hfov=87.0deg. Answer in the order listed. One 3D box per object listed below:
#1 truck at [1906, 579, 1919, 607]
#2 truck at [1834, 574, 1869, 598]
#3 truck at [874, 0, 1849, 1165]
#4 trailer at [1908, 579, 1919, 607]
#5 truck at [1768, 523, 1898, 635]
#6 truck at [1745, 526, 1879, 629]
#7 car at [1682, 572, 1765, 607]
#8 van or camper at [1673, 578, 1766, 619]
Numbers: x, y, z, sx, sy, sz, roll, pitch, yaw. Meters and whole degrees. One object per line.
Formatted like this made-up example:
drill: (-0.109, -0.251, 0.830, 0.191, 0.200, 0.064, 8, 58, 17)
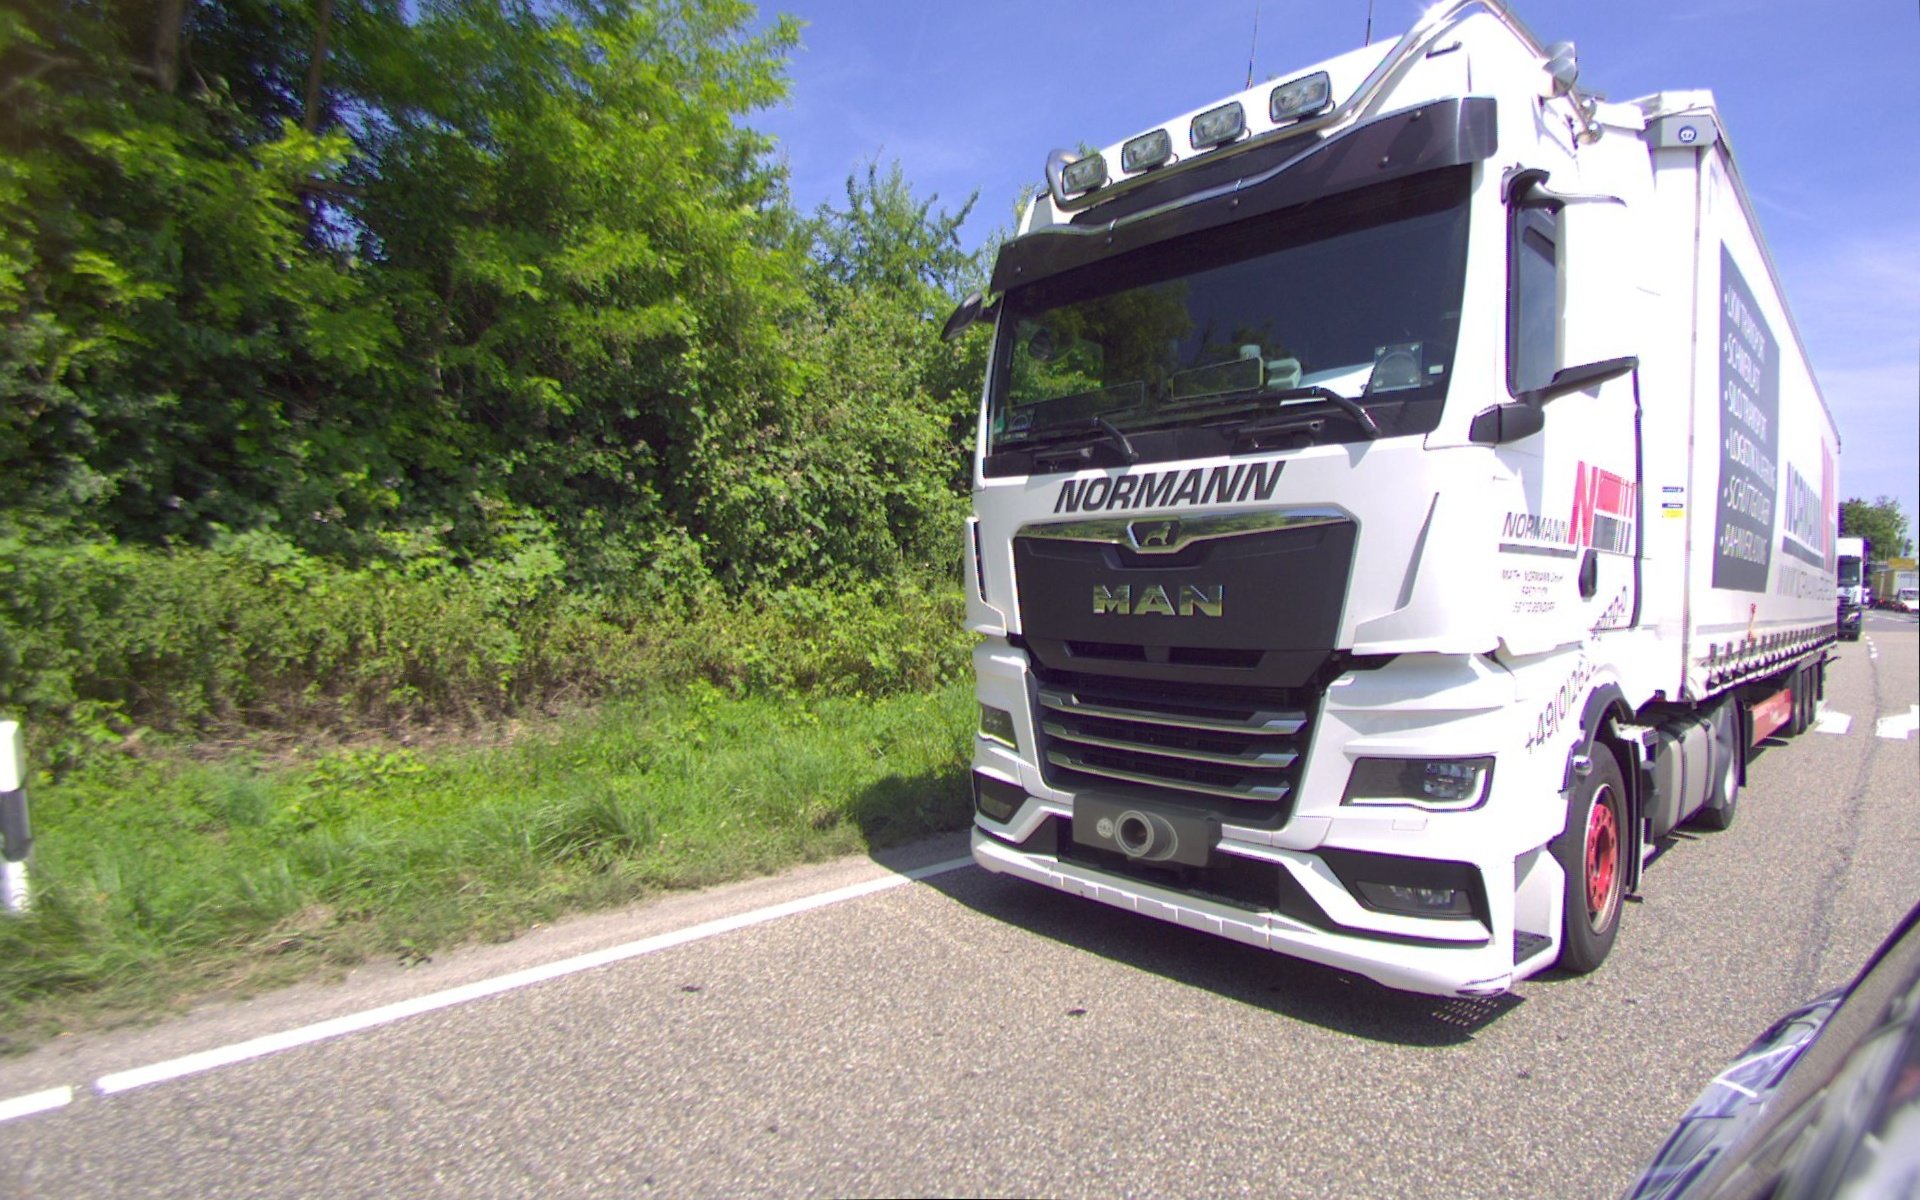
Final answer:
truck: (86.404, -0.574, 90.303, 2.423, 2.368, 5.594, 6, 4, 39)
truck: (96.780, -1.527, 109.944, 2.392, 2.474, 6.778, 2, 3, 38)
truck: (6.559, -0.793, 9.986, 2.972, 4.145, 17.365, 0, 1, 42)
trailer: (84.280, -0.523, 87.704, 2.426, 2.366, 6.799, 6, 5, 39)
truck: (35.057, -0.901, 40.889, 2.964, 4.058, 6.251, 4, 3, 34)
truck: (38.904, -1.104, 46.734, 2.963, 4.058, 13.954, 4, 3, 34)
car: (43.202, -0.623, 57.367, 3.521, 1.495, 1.809, 10, 7, 36)
van or camper: (57.371, -0.176, 76.481, 5.469, 2.763, 2.201, 4, 3, 40)
